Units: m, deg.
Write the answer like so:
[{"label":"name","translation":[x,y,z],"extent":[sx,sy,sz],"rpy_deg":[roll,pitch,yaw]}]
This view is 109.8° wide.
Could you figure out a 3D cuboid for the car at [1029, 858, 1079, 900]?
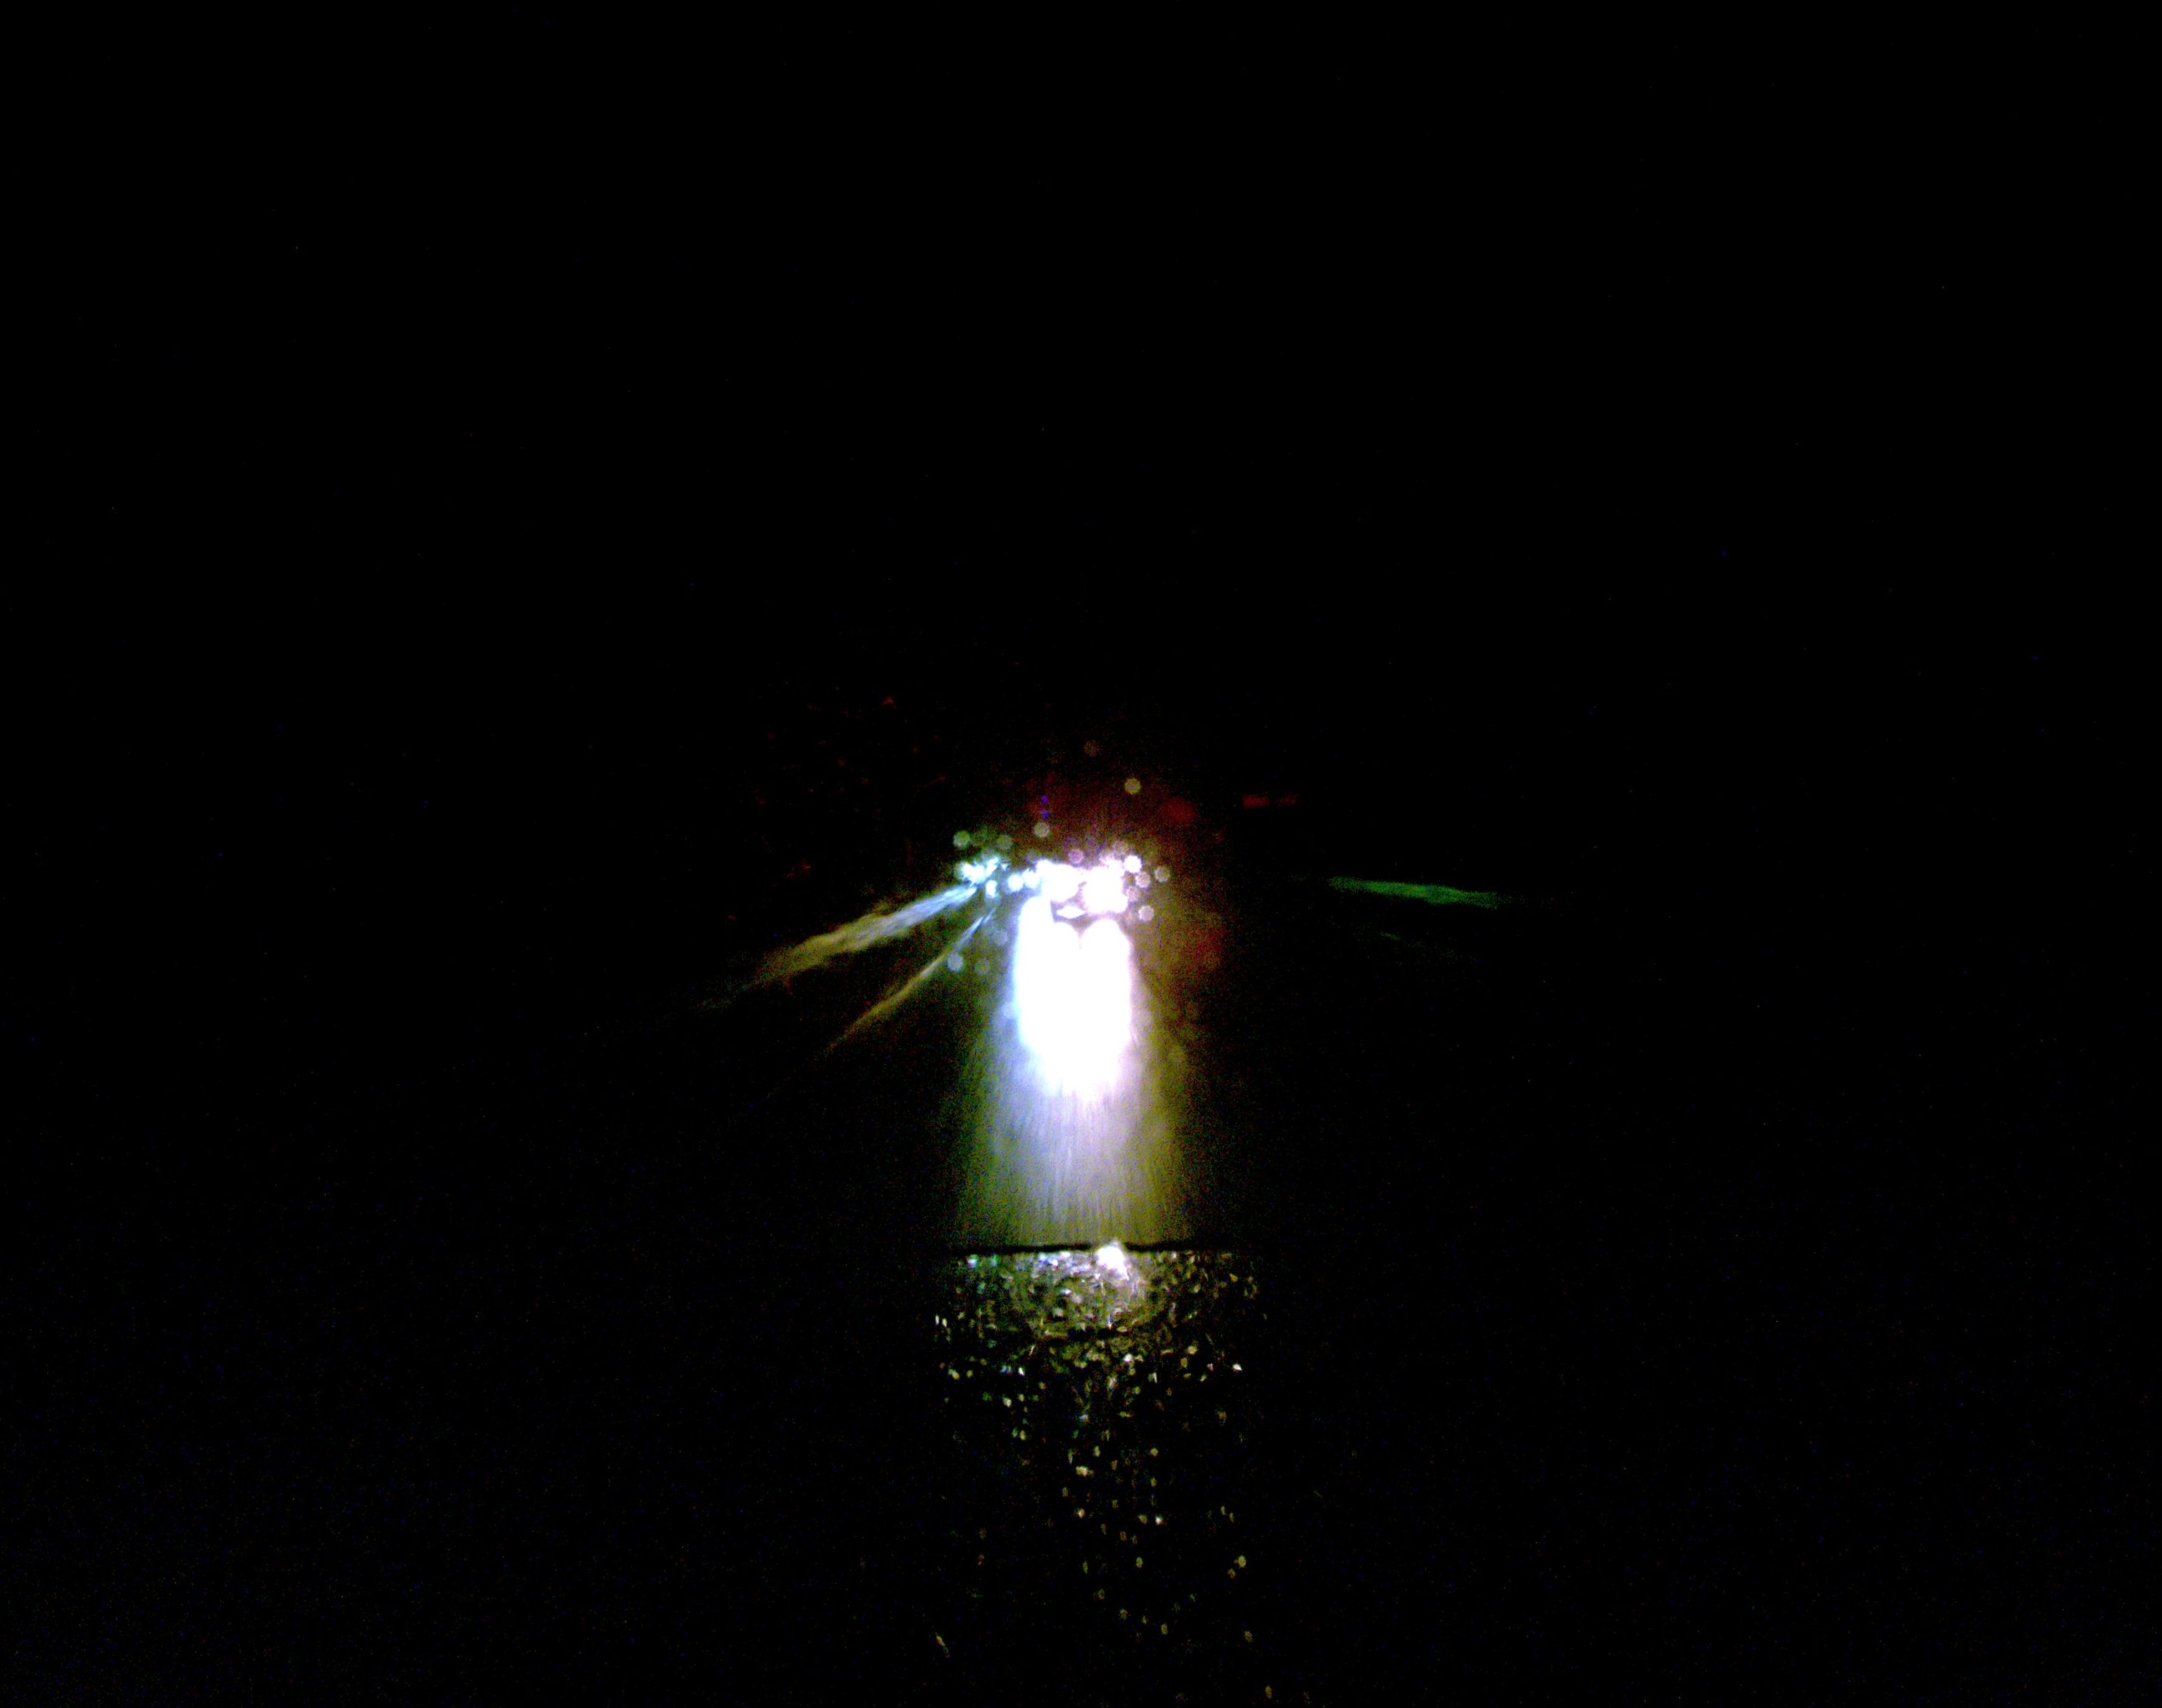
[{"label":"car","translation":[-1.186,0.999,32.104],"extent":[1.850,1.441,3.872],"rpy_deg":[-3,2,-5]}]

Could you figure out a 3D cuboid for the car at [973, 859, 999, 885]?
[{"label":"car","translation":[-7.259,1.330,57.807],"extent":[1.785,1.696,3.996],"rpy_deg":[-3,2,-9]}]

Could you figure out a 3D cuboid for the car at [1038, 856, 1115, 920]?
[{"label":"car","translation":[-0.038,0.881,21.414],"extent":[1.849,1.441,4.000],"rpy_deg":[-3,2,3]}]
